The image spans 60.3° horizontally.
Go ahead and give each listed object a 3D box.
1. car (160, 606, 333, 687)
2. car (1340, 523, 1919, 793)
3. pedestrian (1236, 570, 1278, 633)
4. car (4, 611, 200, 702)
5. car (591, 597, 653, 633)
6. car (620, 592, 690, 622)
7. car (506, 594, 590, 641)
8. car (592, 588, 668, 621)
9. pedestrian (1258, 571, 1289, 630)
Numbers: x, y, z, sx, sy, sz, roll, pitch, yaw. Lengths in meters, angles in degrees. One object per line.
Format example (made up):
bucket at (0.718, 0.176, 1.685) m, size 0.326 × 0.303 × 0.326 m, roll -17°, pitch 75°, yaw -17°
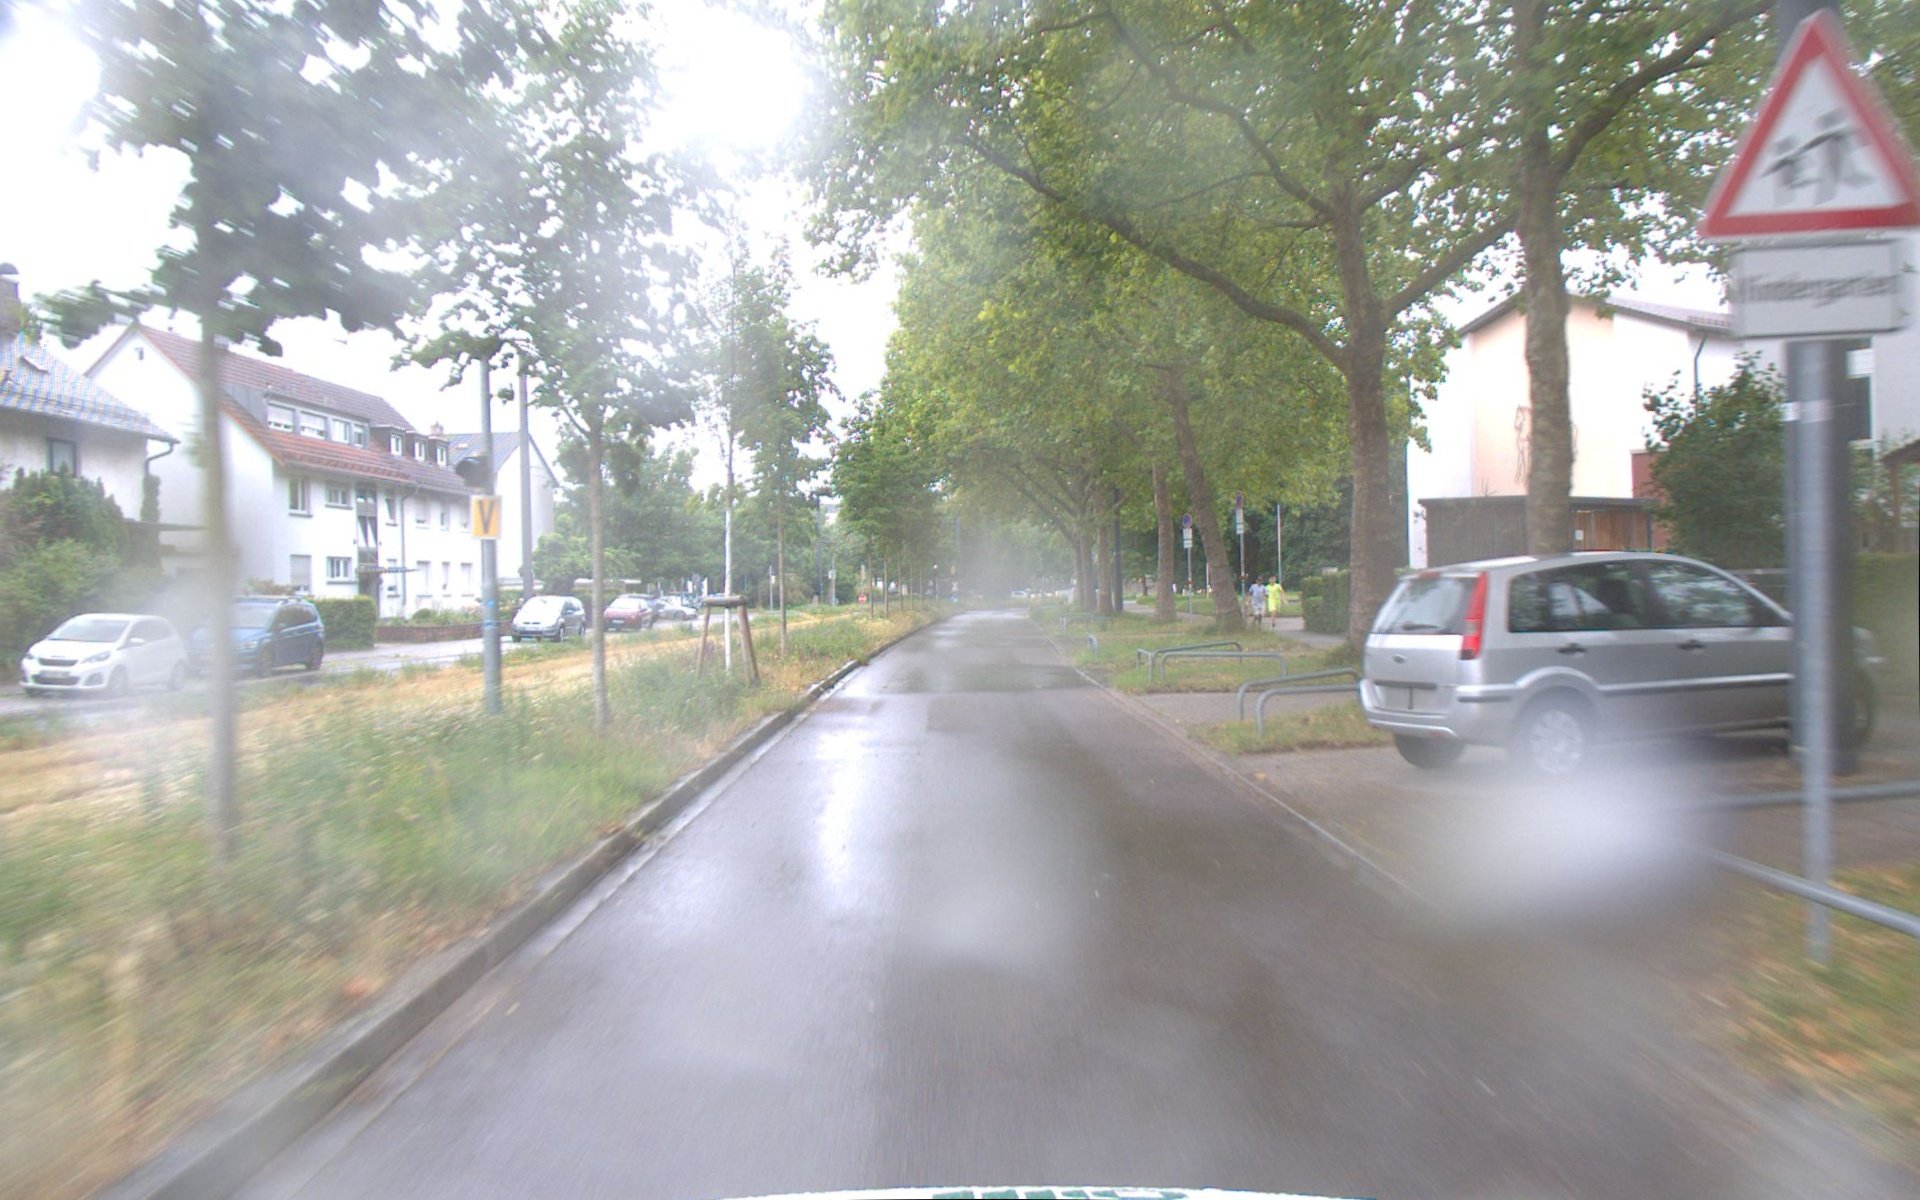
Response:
car at (-16.016, 0.999, 37.394) m, size 1.952 × 1.642 × 4.413 m, roll 0°, pitch 1°, yaw 0°
car at (4.942, 0.360, 12.231) m, size 3.792 × 1.593 × 1.613 m, roll -4°, pitch 1°, yaw -15°
pedestrian at (7.696, 0.036, 42.872) m, size 0.817 × 1.565 × 0.859 m, roll -3°, pitch 0°, yaw -4°
car at (-15.944, 1.004, 30.926) m, size 1.759 × 1.514 × 3.597 m, roll 0°, pitch 1°, yaw 0°
car at (-15.327, 0.666, 75.170) m, size 1.952 × 1.514 × 4.206 m, roll 0°, pitch 1°, yaw 0°
car at (-18.781, 0.446, 102.114) m, size 3.907 × 1.645 × 1.999 m, roll -3°, pitch 0°, yaw -2°
car at (-15.222, 0.612, 61.377) m, size 1.952 × 1.608 × 4.517 m, roll 0°, pitch 1°, yaw 0°
car at (-18.726, 0.251, 93.964) m, size 3.907 × 1.645 × 1.999 m, roll -3°, pitch 0°, yaw -2°
pedestrian at (8.505, -0.002, 44.889) m, size 0.545 × 1.565 × 0.966 m, roll -2°, pitch 0°, yaw -4°
